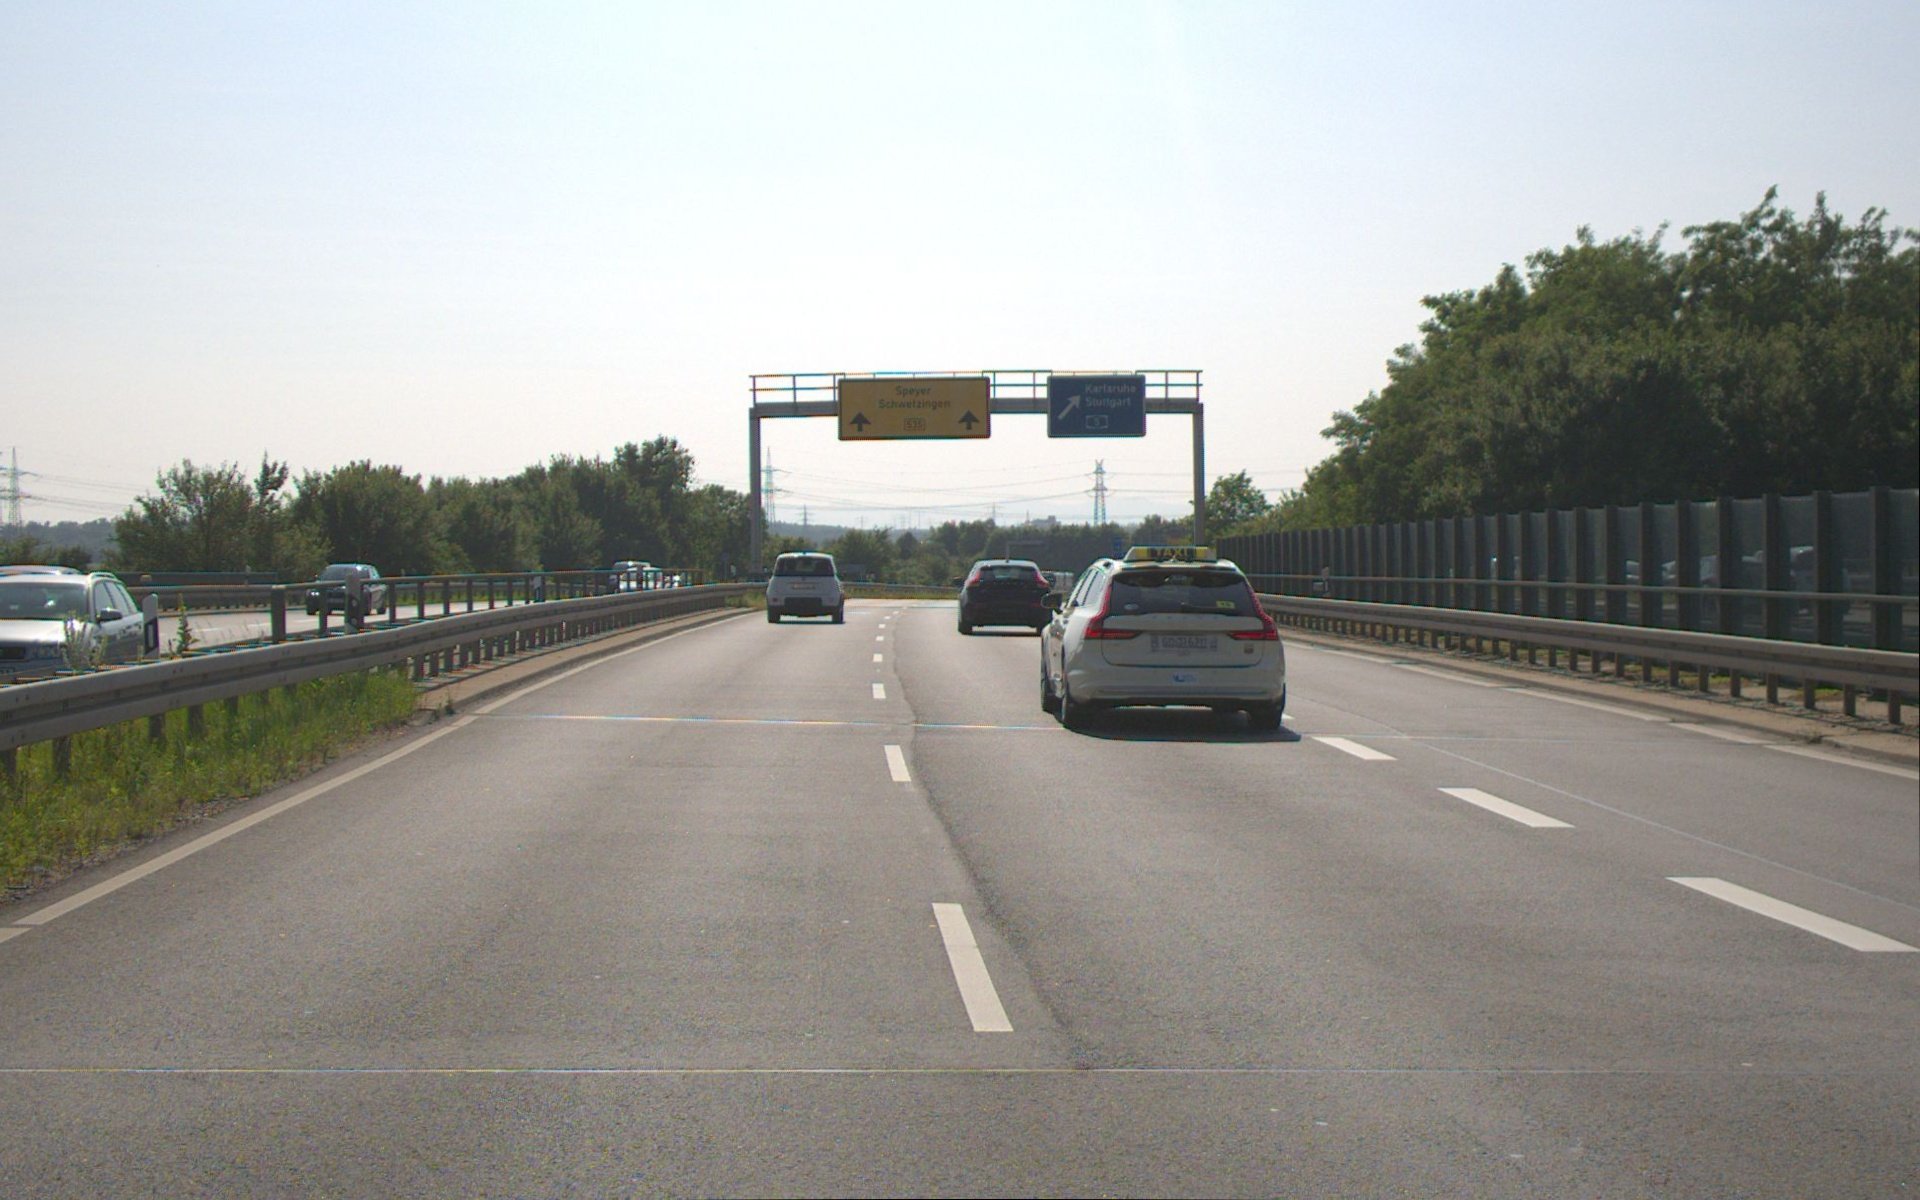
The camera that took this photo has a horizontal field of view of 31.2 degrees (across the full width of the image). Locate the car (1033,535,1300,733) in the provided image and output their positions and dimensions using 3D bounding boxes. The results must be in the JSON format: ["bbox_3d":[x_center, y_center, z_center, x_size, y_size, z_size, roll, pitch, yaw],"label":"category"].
[{"bbox_3d":[1.746,0.245,30.398,1.958,1.596,4.107,1,1,-2],"label":"car"}]

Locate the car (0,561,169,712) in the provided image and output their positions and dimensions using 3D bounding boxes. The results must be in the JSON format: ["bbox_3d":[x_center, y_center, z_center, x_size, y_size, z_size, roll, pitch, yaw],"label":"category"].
[{"bbox_3d":[-9.755,0.336,36.437,1.873,1.433,4.503,1,1,-3],"label":"car"}]

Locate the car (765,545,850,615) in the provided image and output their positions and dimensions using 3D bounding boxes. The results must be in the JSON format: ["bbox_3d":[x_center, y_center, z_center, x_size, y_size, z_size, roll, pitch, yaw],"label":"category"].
[{"bbox_3d":[-3.359,-0.439,76.396,1.793,1.498,4.043,0,0,-1],"label":"car"}]

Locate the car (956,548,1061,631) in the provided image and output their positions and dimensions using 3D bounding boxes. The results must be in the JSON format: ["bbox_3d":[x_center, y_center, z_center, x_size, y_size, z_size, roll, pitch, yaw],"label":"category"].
[{"bbox_3d":[0.908,-0.202,66.272,1.793,1.538,3.672,1,0,-3],"label":"car"}]

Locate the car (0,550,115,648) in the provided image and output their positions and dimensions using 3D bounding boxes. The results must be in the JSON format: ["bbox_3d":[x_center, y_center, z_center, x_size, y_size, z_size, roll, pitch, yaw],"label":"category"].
[{"bbox_3d":[-14.494,-0.043,53.462,1.824,1.423,4.532,1,1,-3],"label":"car"}]

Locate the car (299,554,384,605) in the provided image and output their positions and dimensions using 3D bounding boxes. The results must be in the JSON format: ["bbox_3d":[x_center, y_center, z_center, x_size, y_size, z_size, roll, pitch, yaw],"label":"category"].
[{"bbox_3d":[-17.516,-0.598,97.530,1.779,1.379,4.000,1,1,-2],"label":"car"}]
